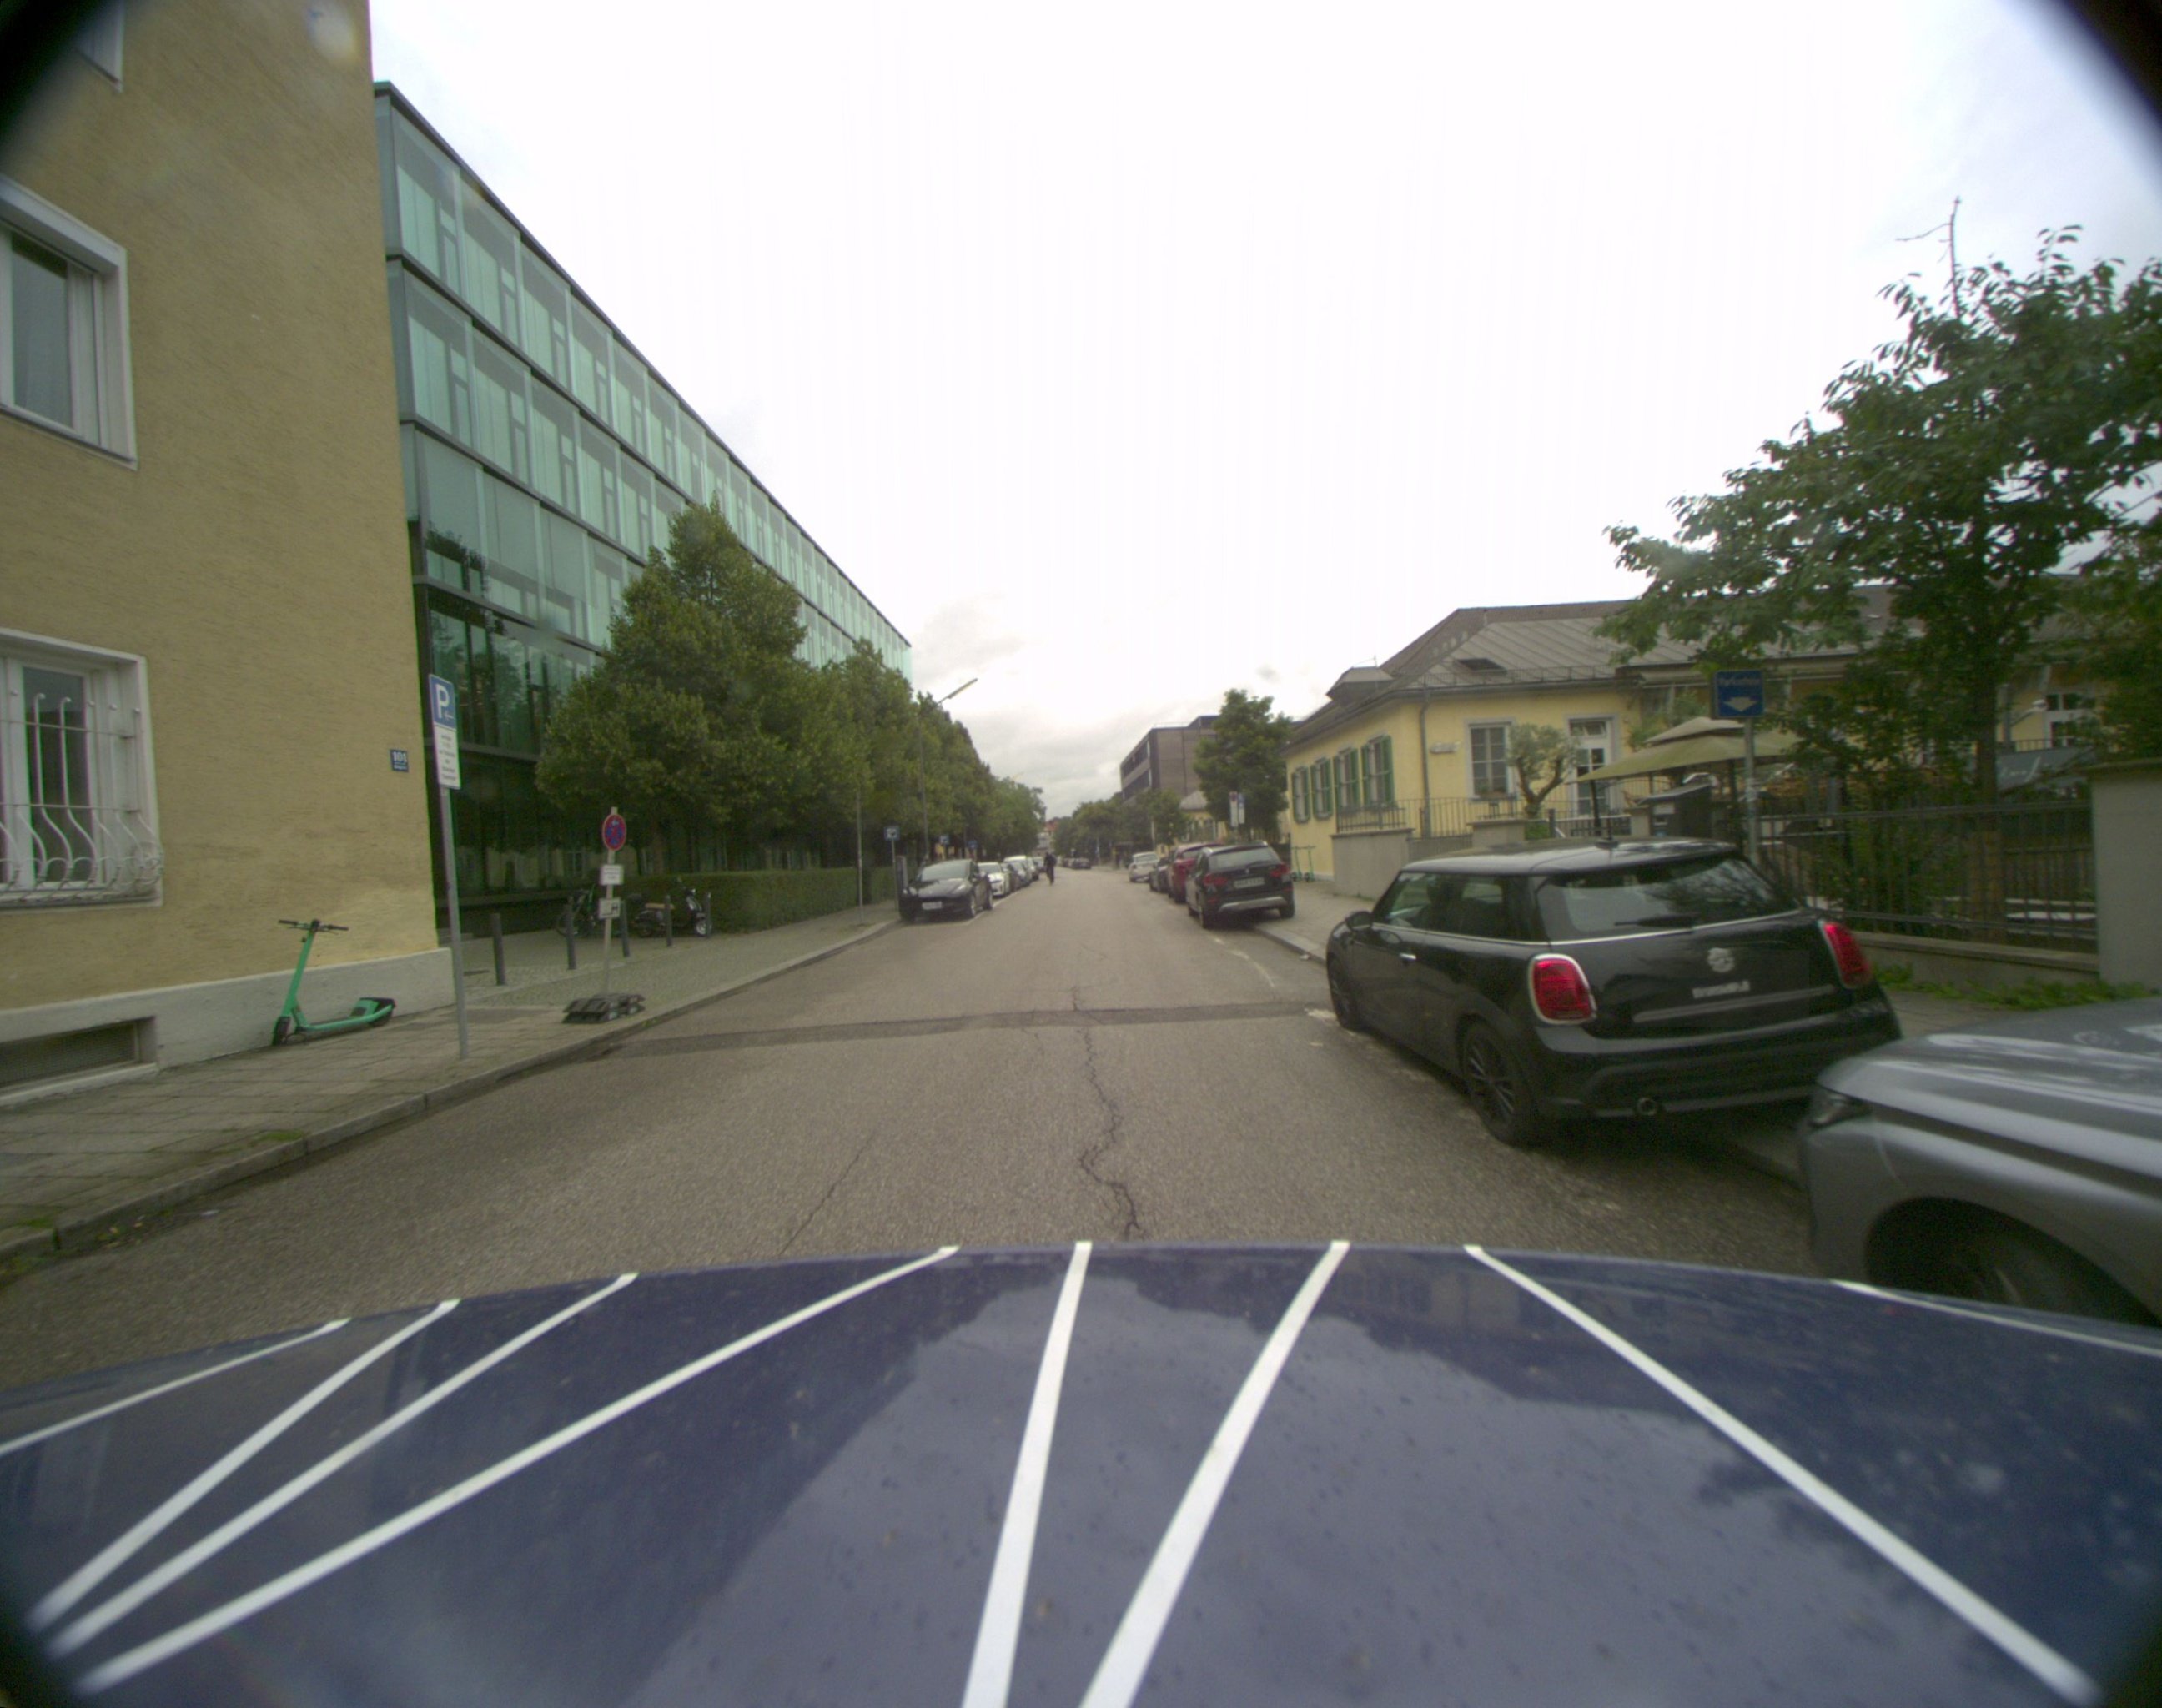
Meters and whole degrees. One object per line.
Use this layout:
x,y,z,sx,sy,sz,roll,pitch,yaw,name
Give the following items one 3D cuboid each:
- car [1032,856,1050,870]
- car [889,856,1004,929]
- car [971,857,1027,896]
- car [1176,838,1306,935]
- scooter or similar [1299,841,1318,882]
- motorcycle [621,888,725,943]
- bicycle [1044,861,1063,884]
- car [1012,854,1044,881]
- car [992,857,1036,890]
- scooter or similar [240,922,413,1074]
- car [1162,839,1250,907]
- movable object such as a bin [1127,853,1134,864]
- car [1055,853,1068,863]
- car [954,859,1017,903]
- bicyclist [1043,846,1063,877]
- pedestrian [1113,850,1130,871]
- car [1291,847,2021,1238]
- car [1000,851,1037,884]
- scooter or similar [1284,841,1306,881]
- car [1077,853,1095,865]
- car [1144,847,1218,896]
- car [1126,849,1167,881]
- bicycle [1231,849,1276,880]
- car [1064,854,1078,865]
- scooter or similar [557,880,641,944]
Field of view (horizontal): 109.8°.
-4.882,1.084,91.987,1.959,1.494,4.485,-5,0,-4,car
-3.653,0.984,21.687,1.998,1.621,5.100,-5,0,3,car
-3.858,1.012,36.687,1.967,1.543,4.849,-5,0,1,car
3.163,0.563,16.009,1.850,1.598,4.743,-5,0,3,car
7.569,0.231,25.273,0.363,1.306,1.255,-3,0,25,scooter or similar
-8.962,1.342,16.724,1.898,1.126,0.708,-1,1,2,motorcycle
-1.490,1.003,41.988,0.720,1.199,1.802,-5,-1,6,bicycle
-3.771,0.930,54.494,1.872,1.681,4.784,-5,0,-1,car
-3.694,1.060,42.578,1.952,1.543,5.004,-5,0,-1,car
-7.413,1.365,7.537,0.343,1.248,1.309,-2,1,1,scooter or similar
3.617,0.489,22.916,1.906,1.682,4.808,-5,0,2,car
5.159,0.450,79.219,0.615,1.102,0.460,-5,1,-4,movable object such as a bin
-3.592,0.732,139.044,1.999,1.510,3.999,-5,0,-4,car
-3.817,1.031,31.228,1.999,1.451,4.956,-5,0,-1,car
-1.540,0.422,41.987,0.780,1.657,1.035,-5,-1,6,bicyclist
4.234,0.685,80.427,1.480,2.002,1.500,-5,1,-4,pedestrian
2.874,0.755,5.141,1.863,1.535,4.188,-2,0,2,car
-3.914,0.828,48.457,1.789,1.884,4.574,-5,0,0,car
7.492,0.222,26.557,0.375,1.335,1.355,-3,0,28,scooter or similar
0.560,0.589,96.444,1.929,1.390,4.485,-3,0,-4,car
3.613,0.599,28.312,1.901,1.510,4.654,-5,0,-2,car
3.453,0.536,40.649,1.729,1.483,4.461,-5,0,0,car
6.743,0.409,29.711,1.633,1.130,0.387,-4,1,-1,bicycle
-1.740,0.910,125.777,1.999,1.510,3.999,-5,0,-4,car
-10.650,1.272,16.823,1.352,1.295,0.670,-1,2,-3,scooter or similar
